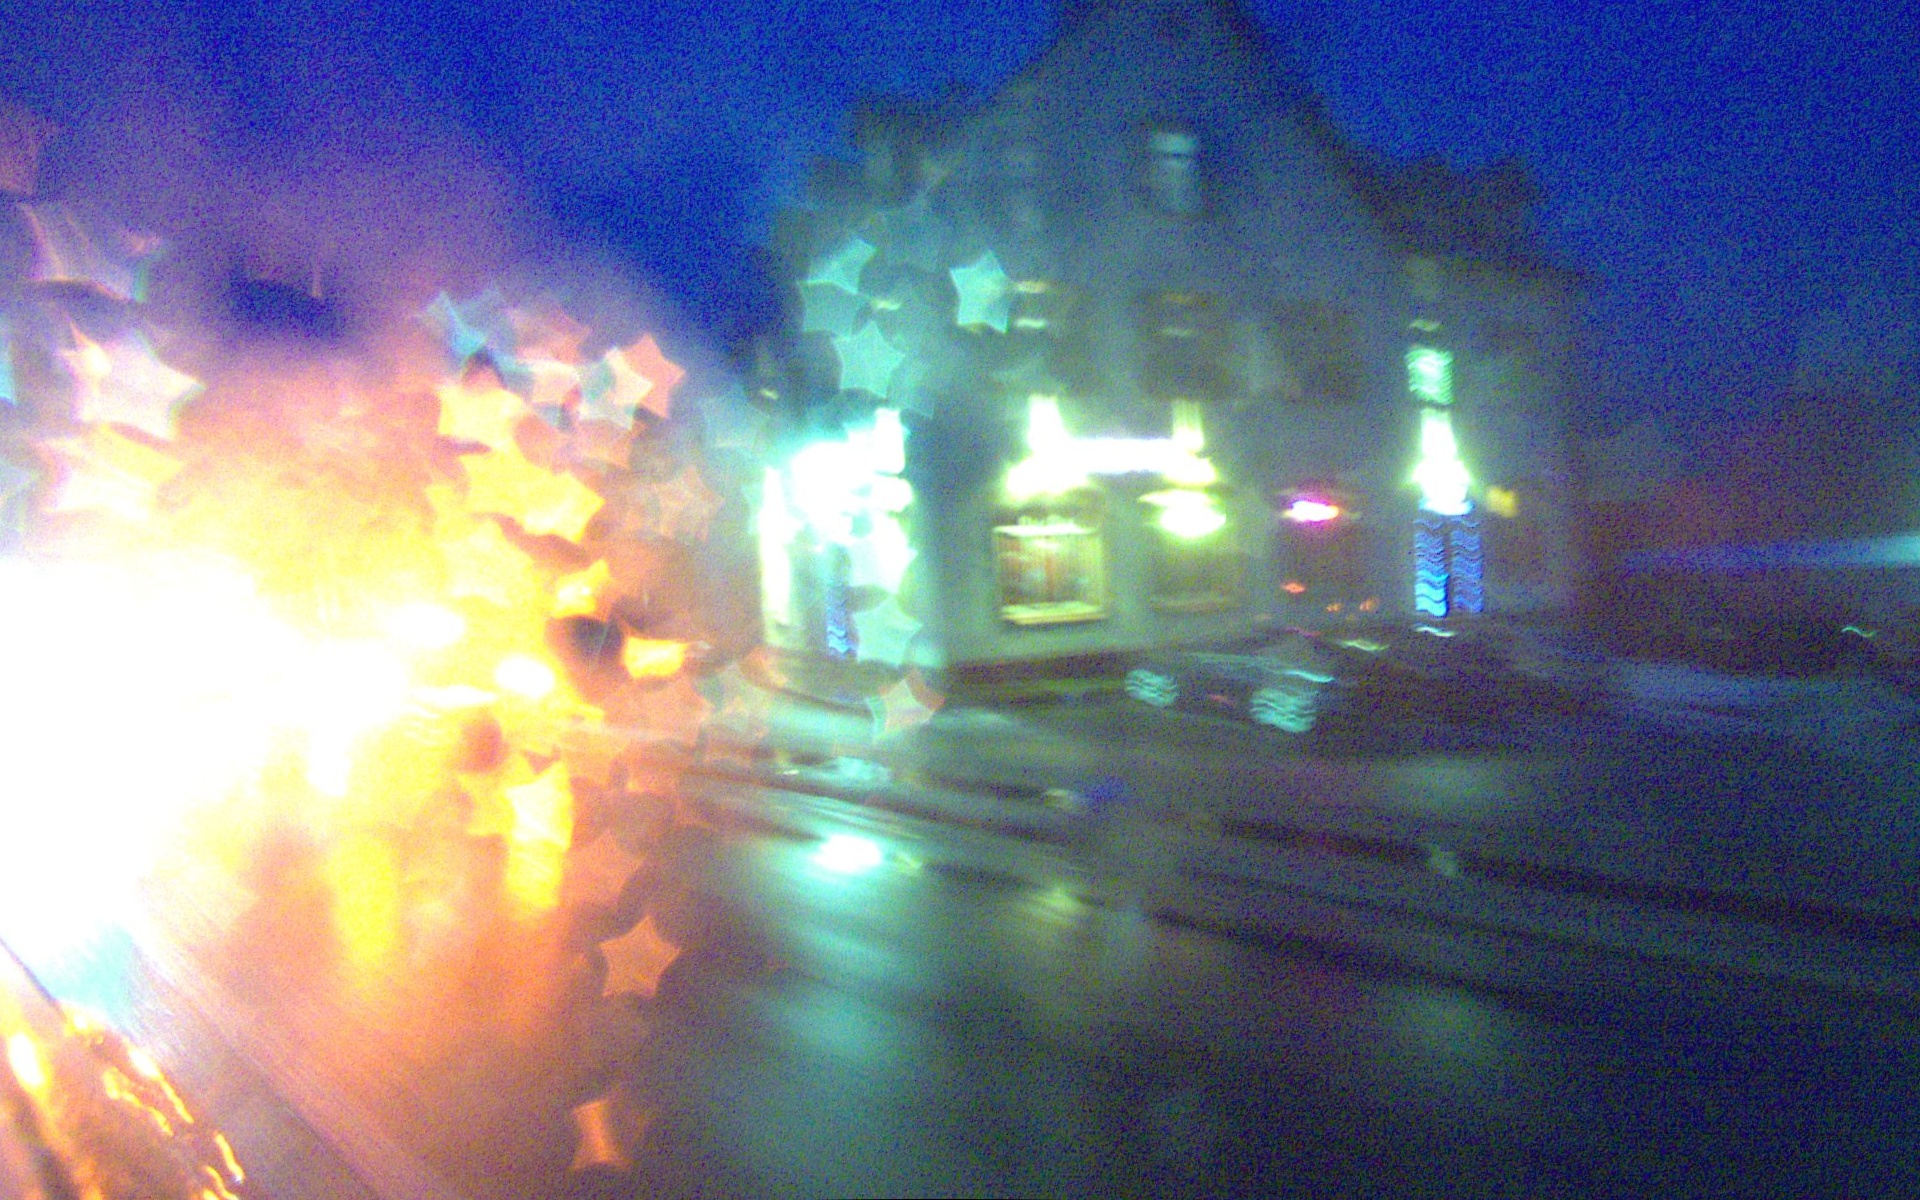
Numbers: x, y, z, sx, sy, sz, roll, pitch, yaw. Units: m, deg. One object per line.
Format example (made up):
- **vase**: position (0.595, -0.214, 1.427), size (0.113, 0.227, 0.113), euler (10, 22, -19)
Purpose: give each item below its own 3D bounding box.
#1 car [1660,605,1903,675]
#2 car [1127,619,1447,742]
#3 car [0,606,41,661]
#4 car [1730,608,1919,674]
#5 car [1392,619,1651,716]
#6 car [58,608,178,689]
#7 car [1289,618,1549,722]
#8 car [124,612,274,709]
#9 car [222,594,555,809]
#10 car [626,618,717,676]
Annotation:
- **car**: position (19.328, 0.904, 24.012), size (1.829, 1.408, 4.053), euler (2, 0, -26)
- **car**: position (4.816, 1.094, 15.694), size (1.818, 1.386, 4.751), euler (-2, 2, -29)
- **car**: position (-33.238, 1.122, 35.099), size (1.930, 1.734, 4.006), euler (0, 1, -41)
- **car**: position (21.860, 0.971, 25.025), size (1.829, 1.408, 4.053), euler (2, 0, -26)
- **car**: position (9.913, 1.130, 18.156), size (1.664, 1.408, 3.743), euler (2, 0, -26)
- **car**: position (-19.434, 1.034, 23.328), size (1.932, 1.533, 4.406), euler (-2, 2, -41)
- **car**: position (7.547, 1.096, 17.029), size (1.664, 1.408, 3.743), euler (2, 0, -26)
- **car**: position (-13.748, 1.002, 18.203), size (1.692, 1.487, 3.872), euler (-2, 1, -44)
- **car**: position (-5.499, 0.792, 9.537), size (3.801, 1.611, 1.677), euler (-1, -1, 43)
- **car**: position (-7.773, 1.219, 27.016), size (1.664, 1.409, 4.164), euler (2, -2, -25)
